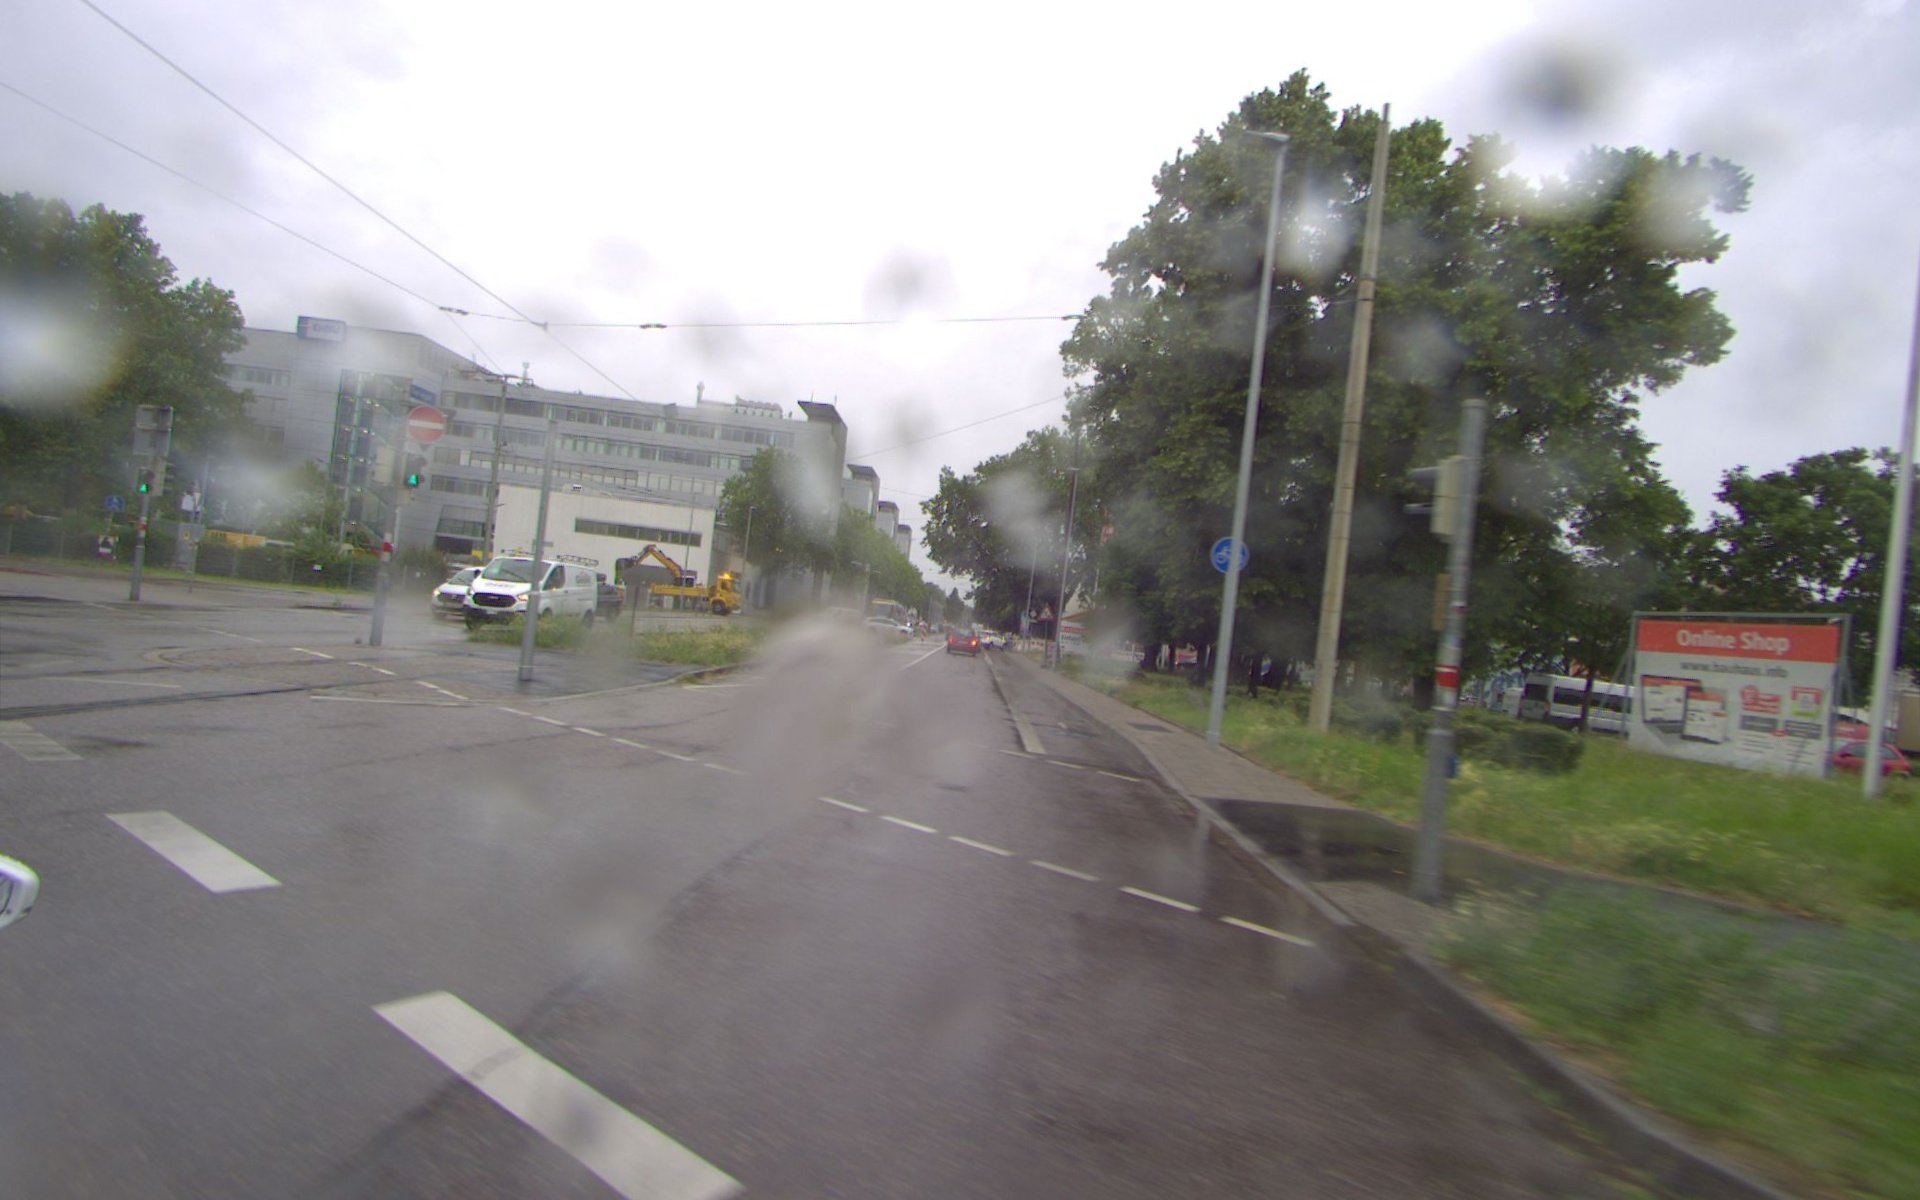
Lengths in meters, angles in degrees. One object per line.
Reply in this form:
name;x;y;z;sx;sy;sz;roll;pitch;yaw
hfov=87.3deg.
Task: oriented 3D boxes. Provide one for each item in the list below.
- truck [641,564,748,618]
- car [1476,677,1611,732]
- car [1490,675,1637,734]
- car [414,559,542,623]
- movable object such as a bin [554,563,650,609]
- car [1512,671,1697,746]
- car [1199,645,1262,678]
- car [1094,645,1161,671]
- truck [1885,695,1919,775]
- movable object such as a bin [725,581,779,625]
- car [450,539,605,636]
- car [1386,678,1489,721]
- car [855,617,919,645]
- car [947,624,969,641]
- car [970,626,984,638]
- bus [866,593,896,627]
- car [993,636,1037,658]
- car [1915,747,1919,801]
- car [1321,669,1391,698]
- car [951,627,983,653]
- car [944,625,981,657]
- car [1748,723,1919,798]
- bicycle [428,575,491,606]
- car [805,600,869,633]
truck;-22.227;-0.685;84.633;7.743;3.549;3.329;6;-1;0
car;27.423;4.886;47.405;4.940;1.858;2.193;7;-1;2
car;26.423;4.543;44.186;4.940;1.858;2.193;7;-1;2
car;-14.879;-0.212;31.332;1.743;1.640;4.384;6;-2;0
movable object such as a bin;-30.143;-1.138;84.878;6.597;3.032;3.329;6;-1;0
car;26.281;4.396;41.181;5.952;2.230;2.193;7;-1;2
car;22.697;5.176;84.541;4.668;2.239;1.967;6;-1;2
car;15.856;5.514;95.527;5.850;1.752;2.279;6;-1;1
truck;44.368;6.129;42.097;2.505;3.509;9.409;8;-2;2
movable object such as a bin;-19.151;0.381;93.234;3.266;3.549;6.324;6;-1;1
car;-11.336;-0.231;26.805;1.963;2.150;4.691;6;-2;-1
car;28.577;5.960;60.310;4.940;1.858;2.193;7;-1;2
car;-6.133;2.615;84.962;4.964;1.672;1.885;7;-3;4
car;-0.178;3.278;101.442;1.891;1.508;4.834;6;-2;2
car;2.531;4.788;150.686;1.891;1.508;4.834;6;-2;2
bus;-8.059;1.074;101.891;2.484;3.072;8.524;6;-2;-6
car;5.019;4.308;91.518;3.747;1.507;1.680;7;-2;-1
car;26.699;4.200;24.423;5.011;2.230;2.191;7;-1;-4
car;33.225;6.987;84.496;4.940;1.752;1.967;6;-1;2
car;0.535;2.720;68.393;1.891;1.508;4.834;6;-2;2
car;0.174;2.309;55.847;1.647;1.507;3.822;7;-3;5
car;26.492;4.822;30.327;3.929;1.615;1.999;7;-1;-5
bicycle;-21.475;-0.396;43.180;2.292;1.059;0.841;7;-1;-35
car;-10.508;1.450;86.113;1.973;2.035;5.346;4;-5;41
